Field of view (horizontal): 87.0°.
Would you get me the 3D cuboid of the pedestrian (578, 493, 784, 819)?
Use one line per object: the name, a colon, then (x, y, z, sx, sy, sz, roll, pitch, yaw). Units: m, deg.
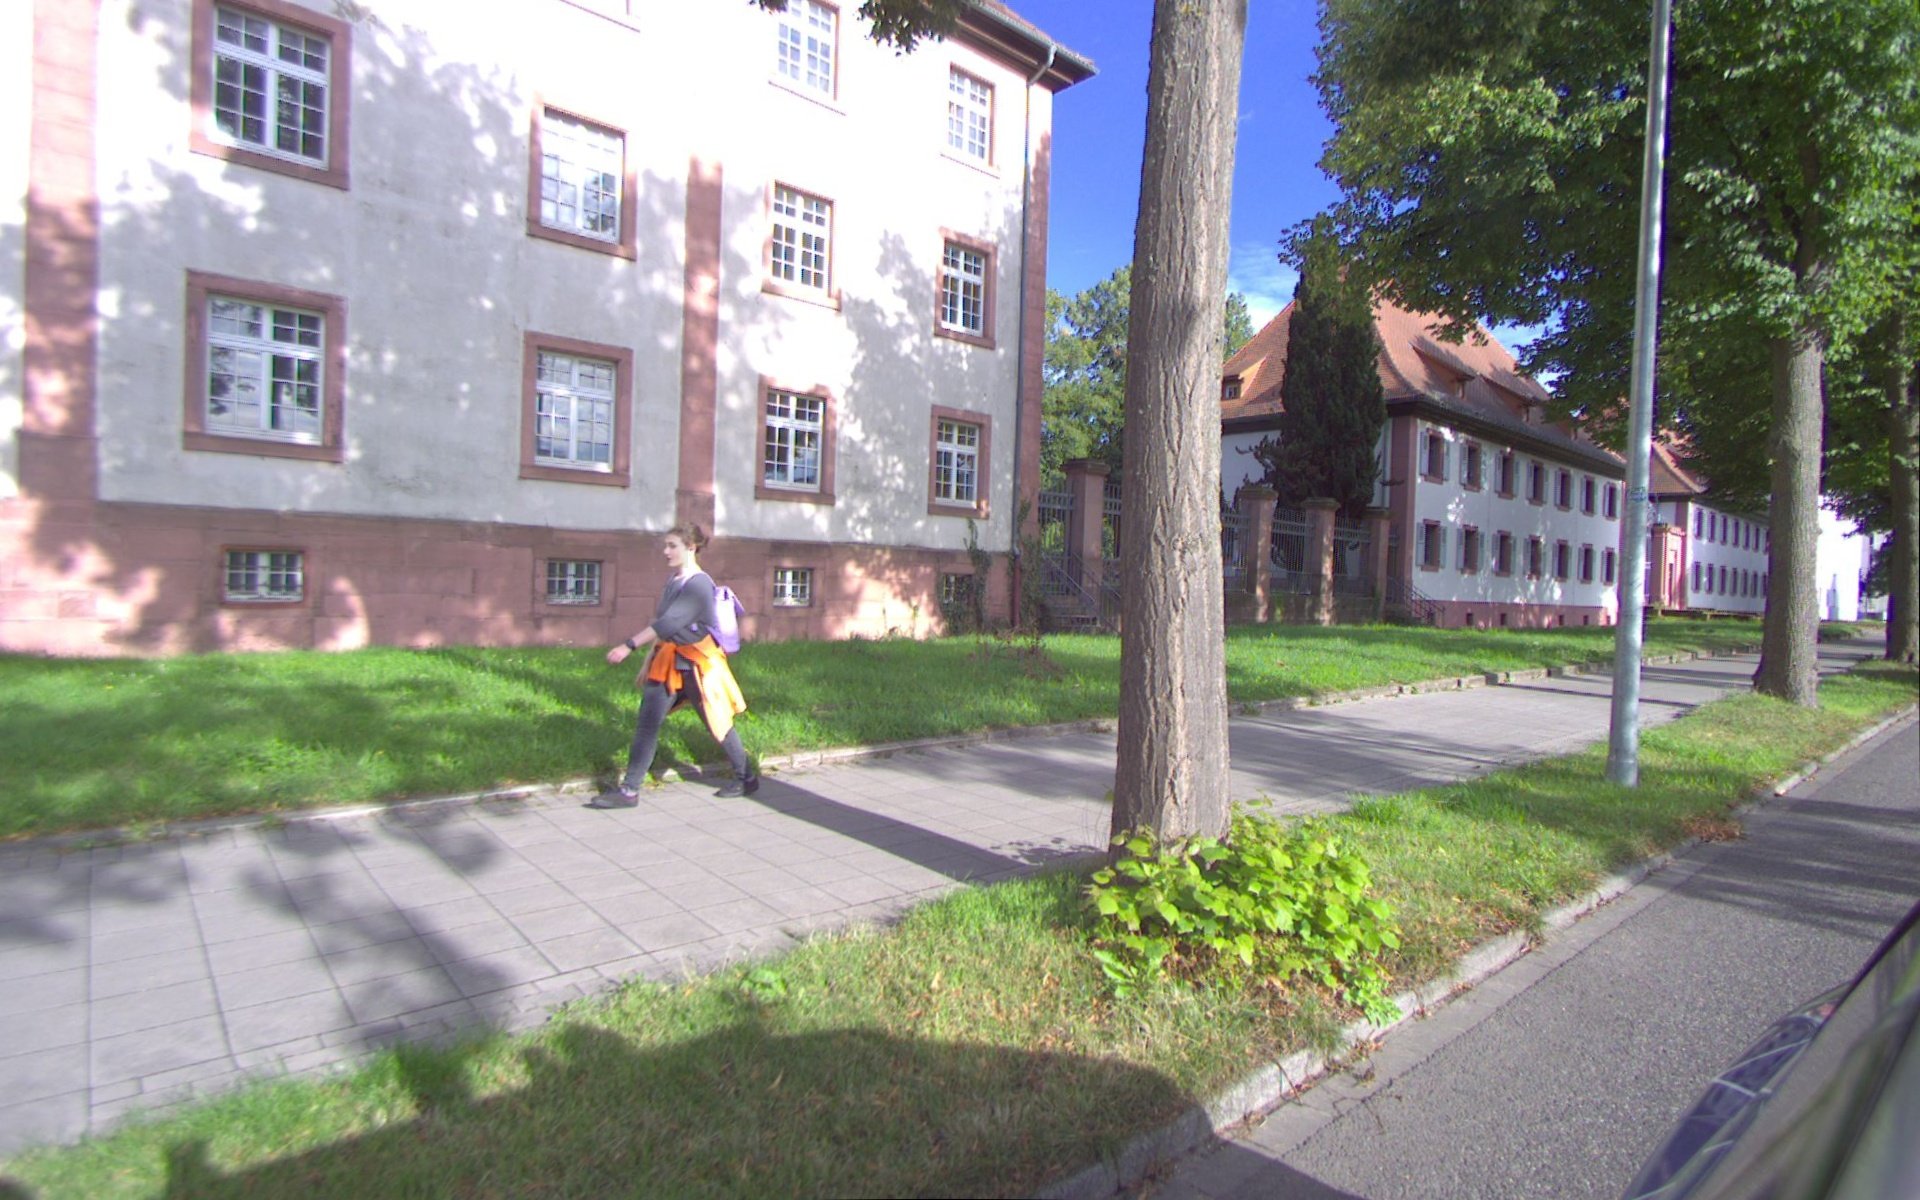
pedestrian: (-1.534, 0.251, 5.533, 0.756, 1.609, 0.815, 0, 4, -42)
